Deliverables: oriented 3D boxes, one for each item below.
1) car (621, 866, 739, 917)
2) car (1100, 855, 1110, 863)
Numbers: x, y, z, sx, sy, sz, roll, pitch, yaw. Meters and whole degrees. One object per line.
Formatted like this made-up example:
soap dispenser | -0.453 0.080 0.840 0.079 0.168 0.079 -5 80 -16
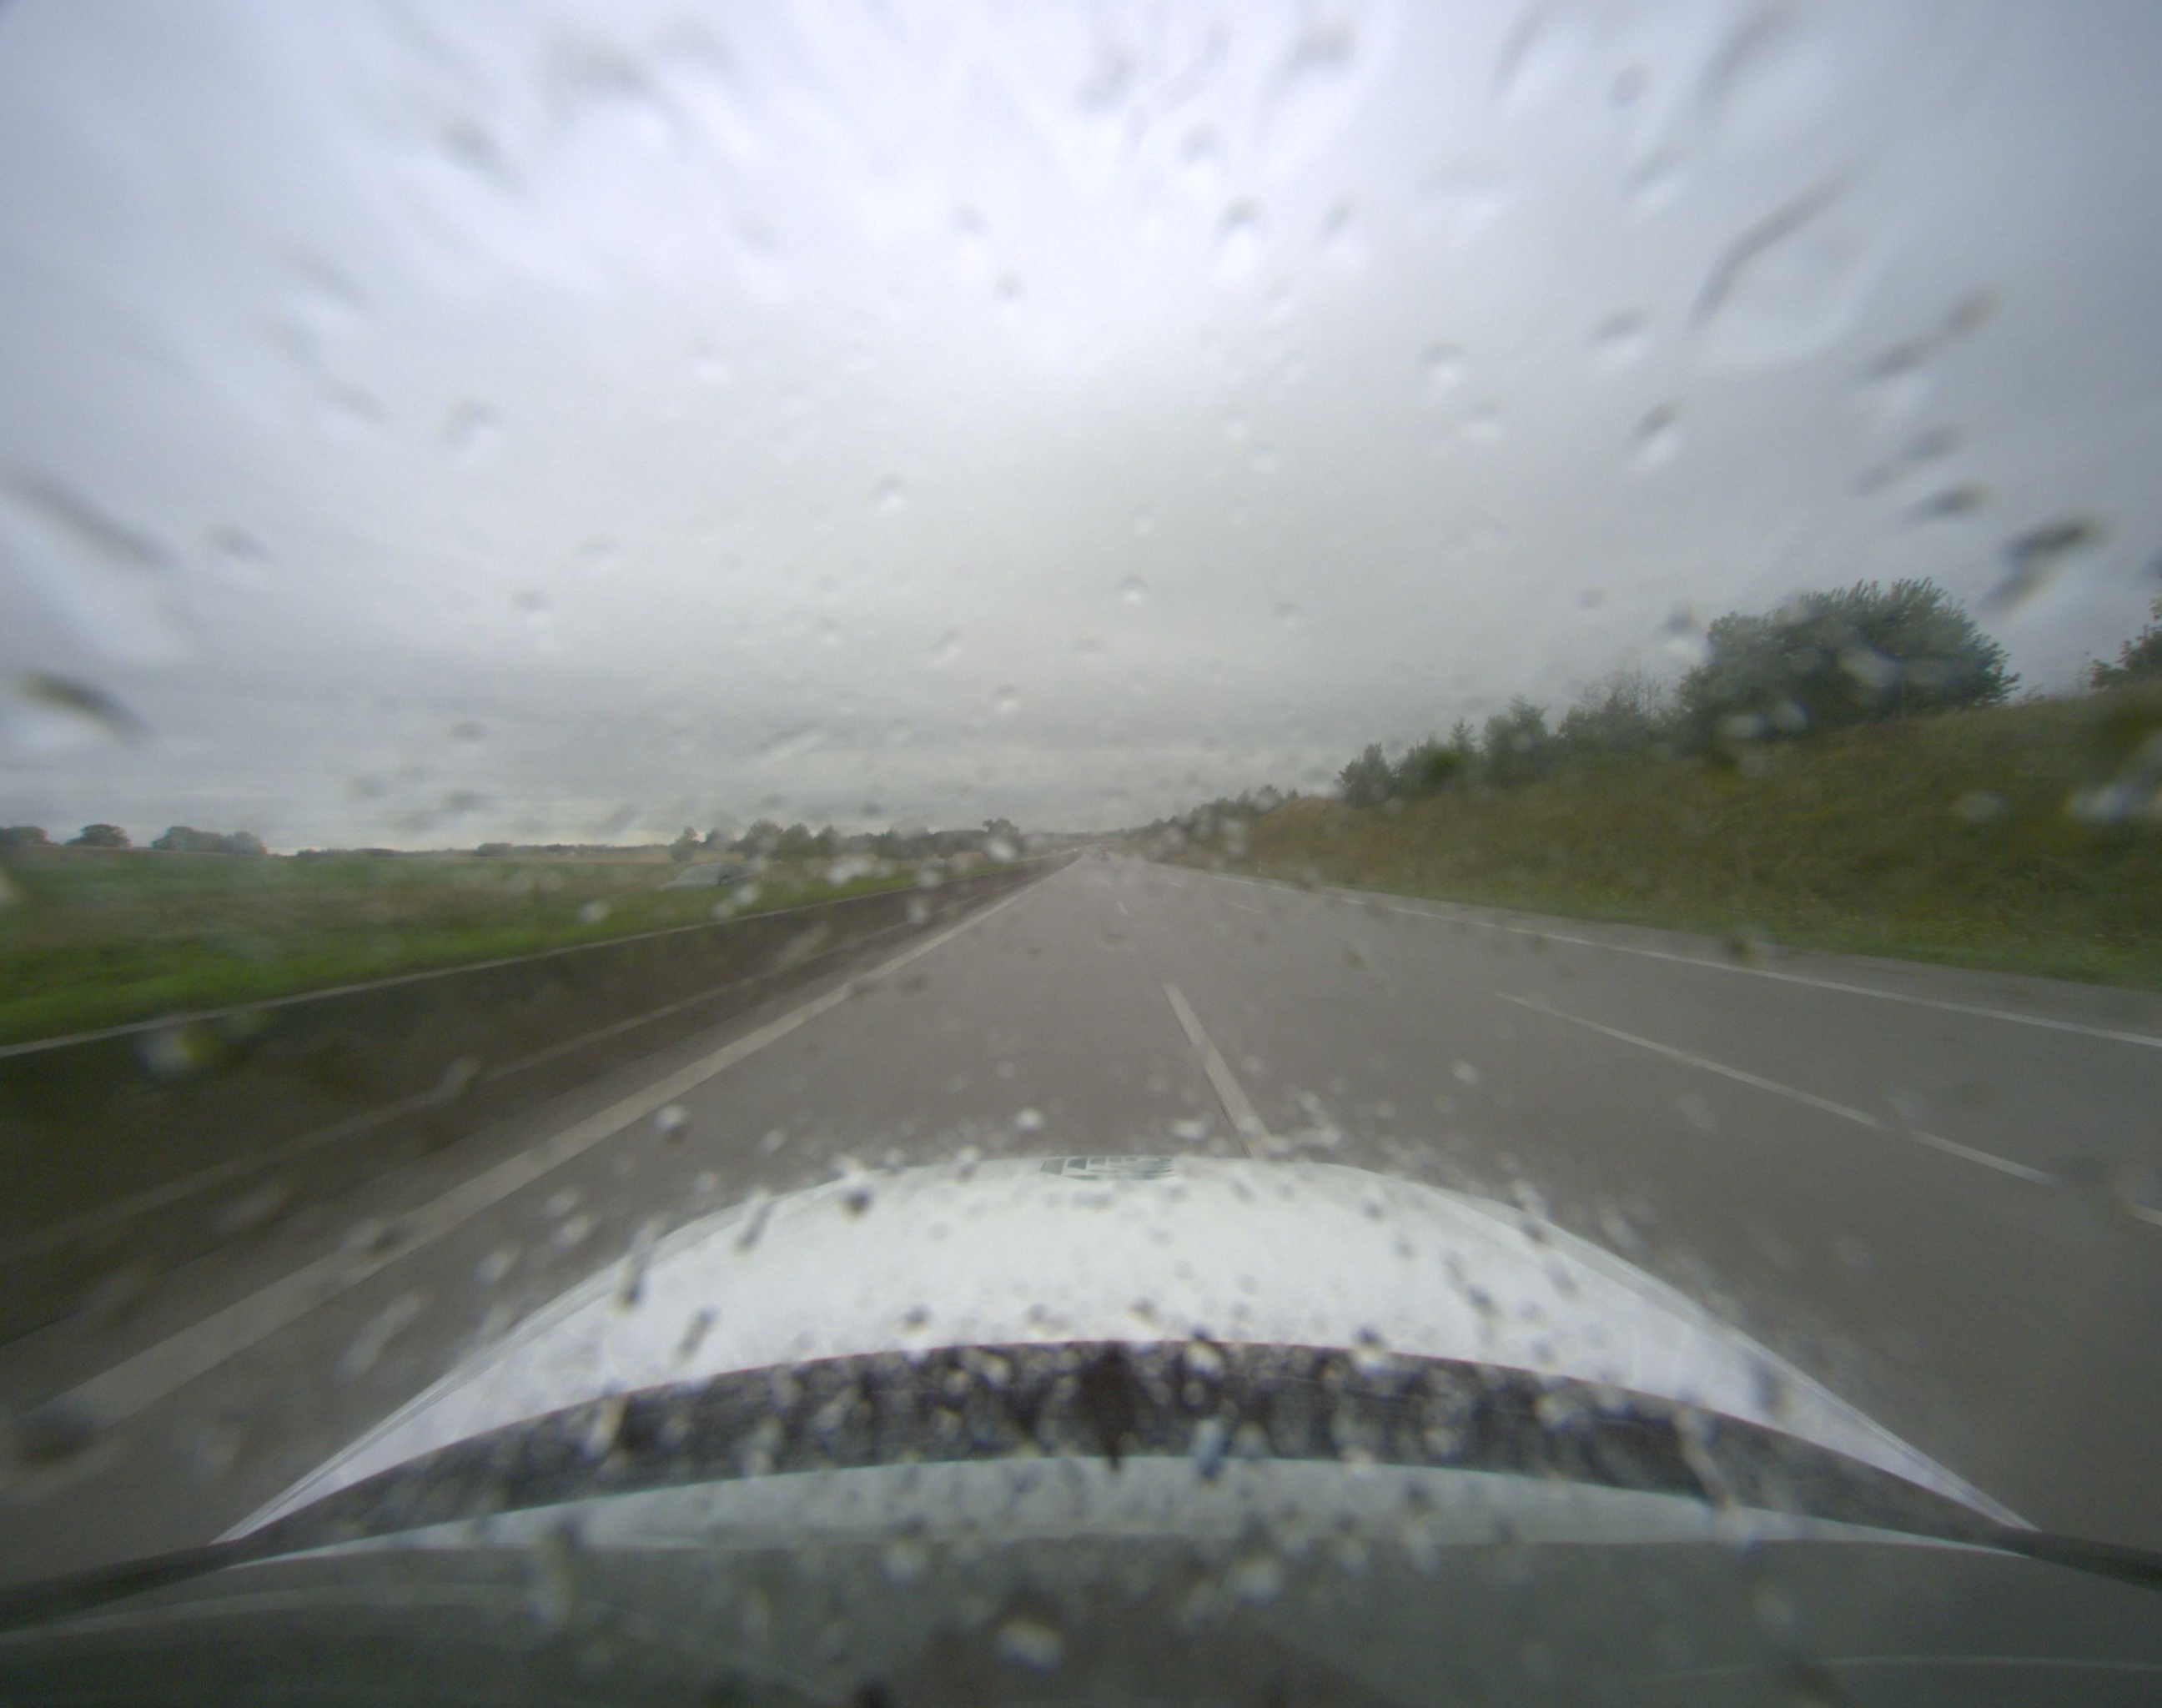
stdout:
car | -13.141 1.170 27.026 1.597 1.387 4.622 -1 0 0
car | 4.761 1.017 162.499 1.842 1.331 4.429 -1 2 -1
